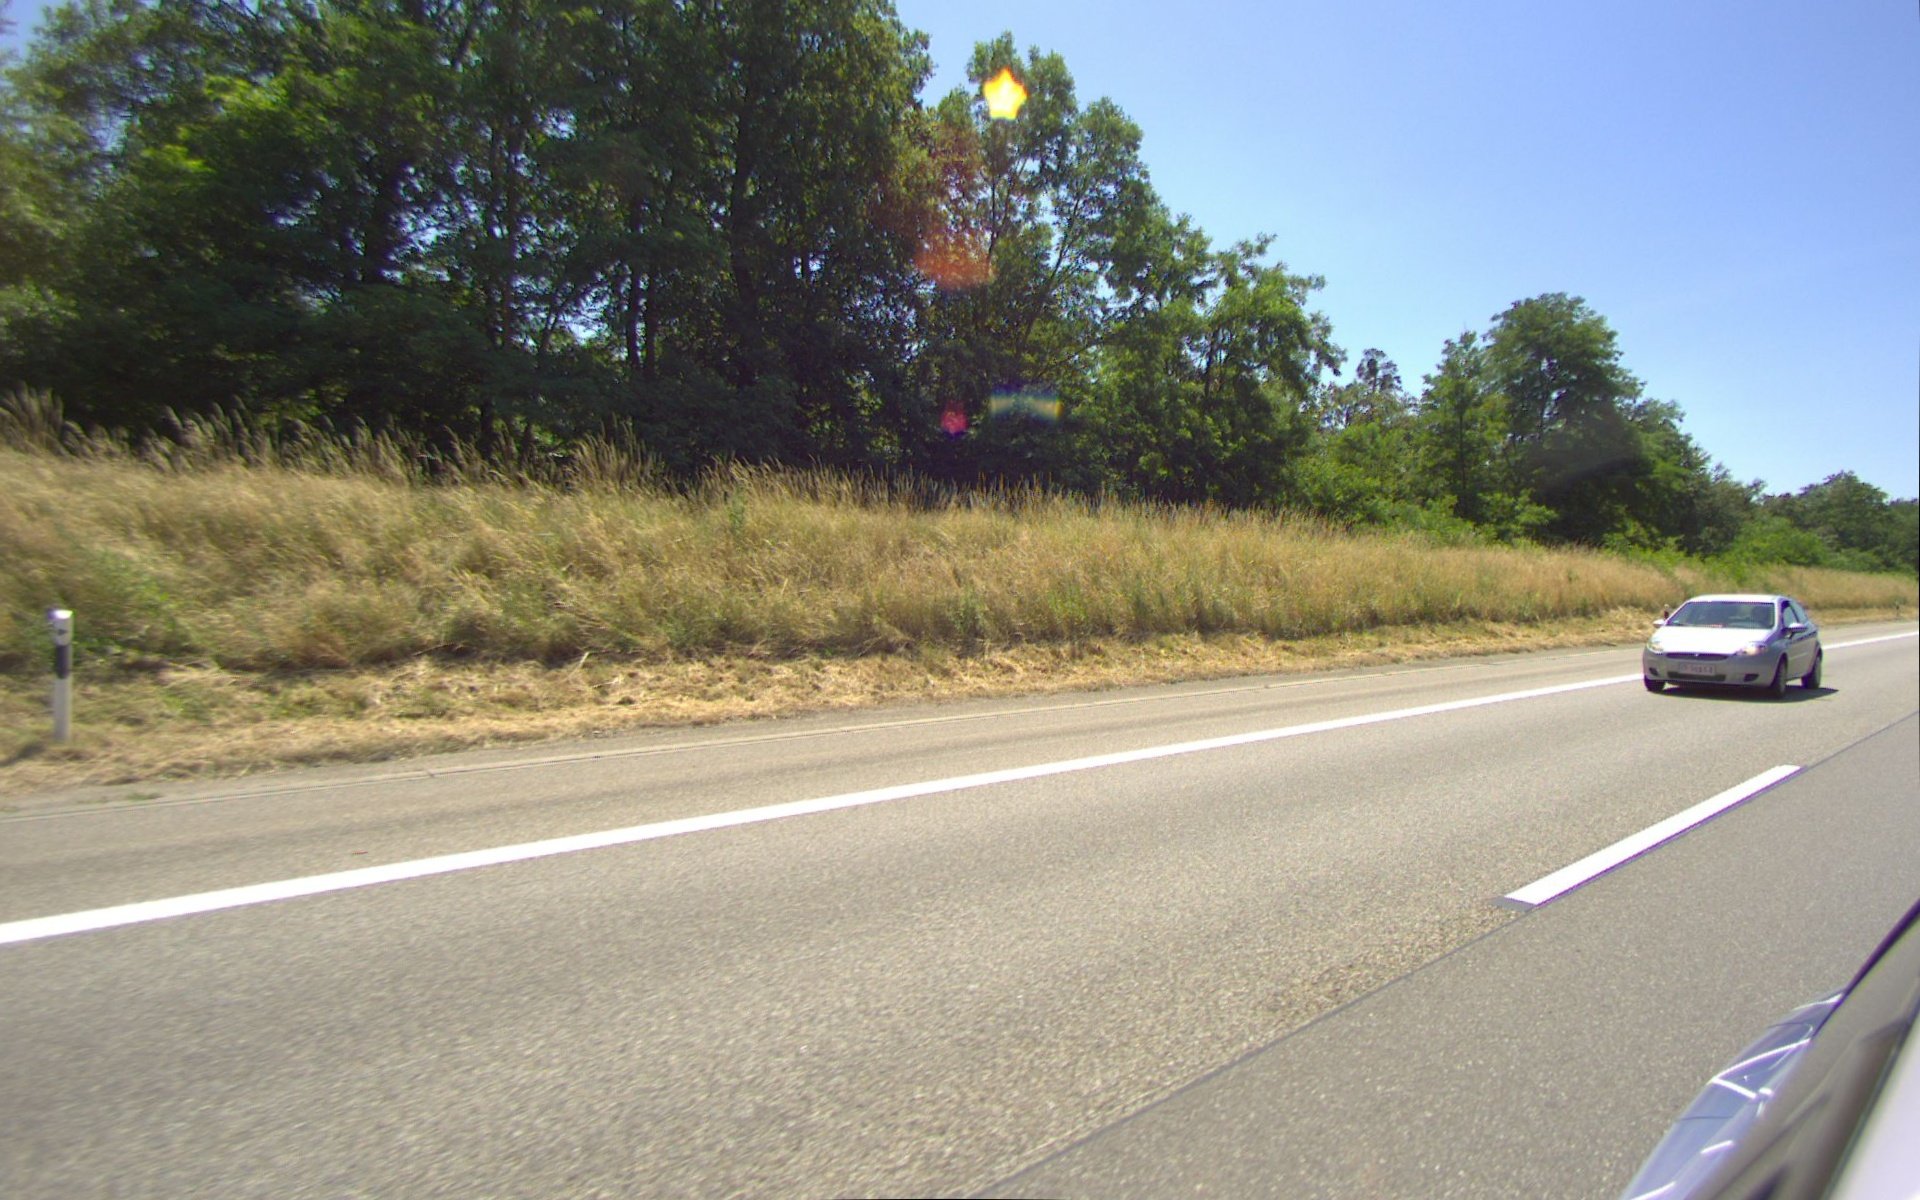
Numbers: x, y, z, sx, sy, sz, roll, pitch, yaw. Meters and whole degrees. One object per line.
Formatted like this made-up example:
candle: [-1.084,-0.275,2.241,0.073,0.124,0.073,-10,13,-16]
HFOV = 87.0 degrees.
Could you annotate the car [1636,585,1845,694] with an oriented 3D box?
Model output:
car: [12.164,0.514,15.693,3.909,1.484,1.749,0,1,-39]
